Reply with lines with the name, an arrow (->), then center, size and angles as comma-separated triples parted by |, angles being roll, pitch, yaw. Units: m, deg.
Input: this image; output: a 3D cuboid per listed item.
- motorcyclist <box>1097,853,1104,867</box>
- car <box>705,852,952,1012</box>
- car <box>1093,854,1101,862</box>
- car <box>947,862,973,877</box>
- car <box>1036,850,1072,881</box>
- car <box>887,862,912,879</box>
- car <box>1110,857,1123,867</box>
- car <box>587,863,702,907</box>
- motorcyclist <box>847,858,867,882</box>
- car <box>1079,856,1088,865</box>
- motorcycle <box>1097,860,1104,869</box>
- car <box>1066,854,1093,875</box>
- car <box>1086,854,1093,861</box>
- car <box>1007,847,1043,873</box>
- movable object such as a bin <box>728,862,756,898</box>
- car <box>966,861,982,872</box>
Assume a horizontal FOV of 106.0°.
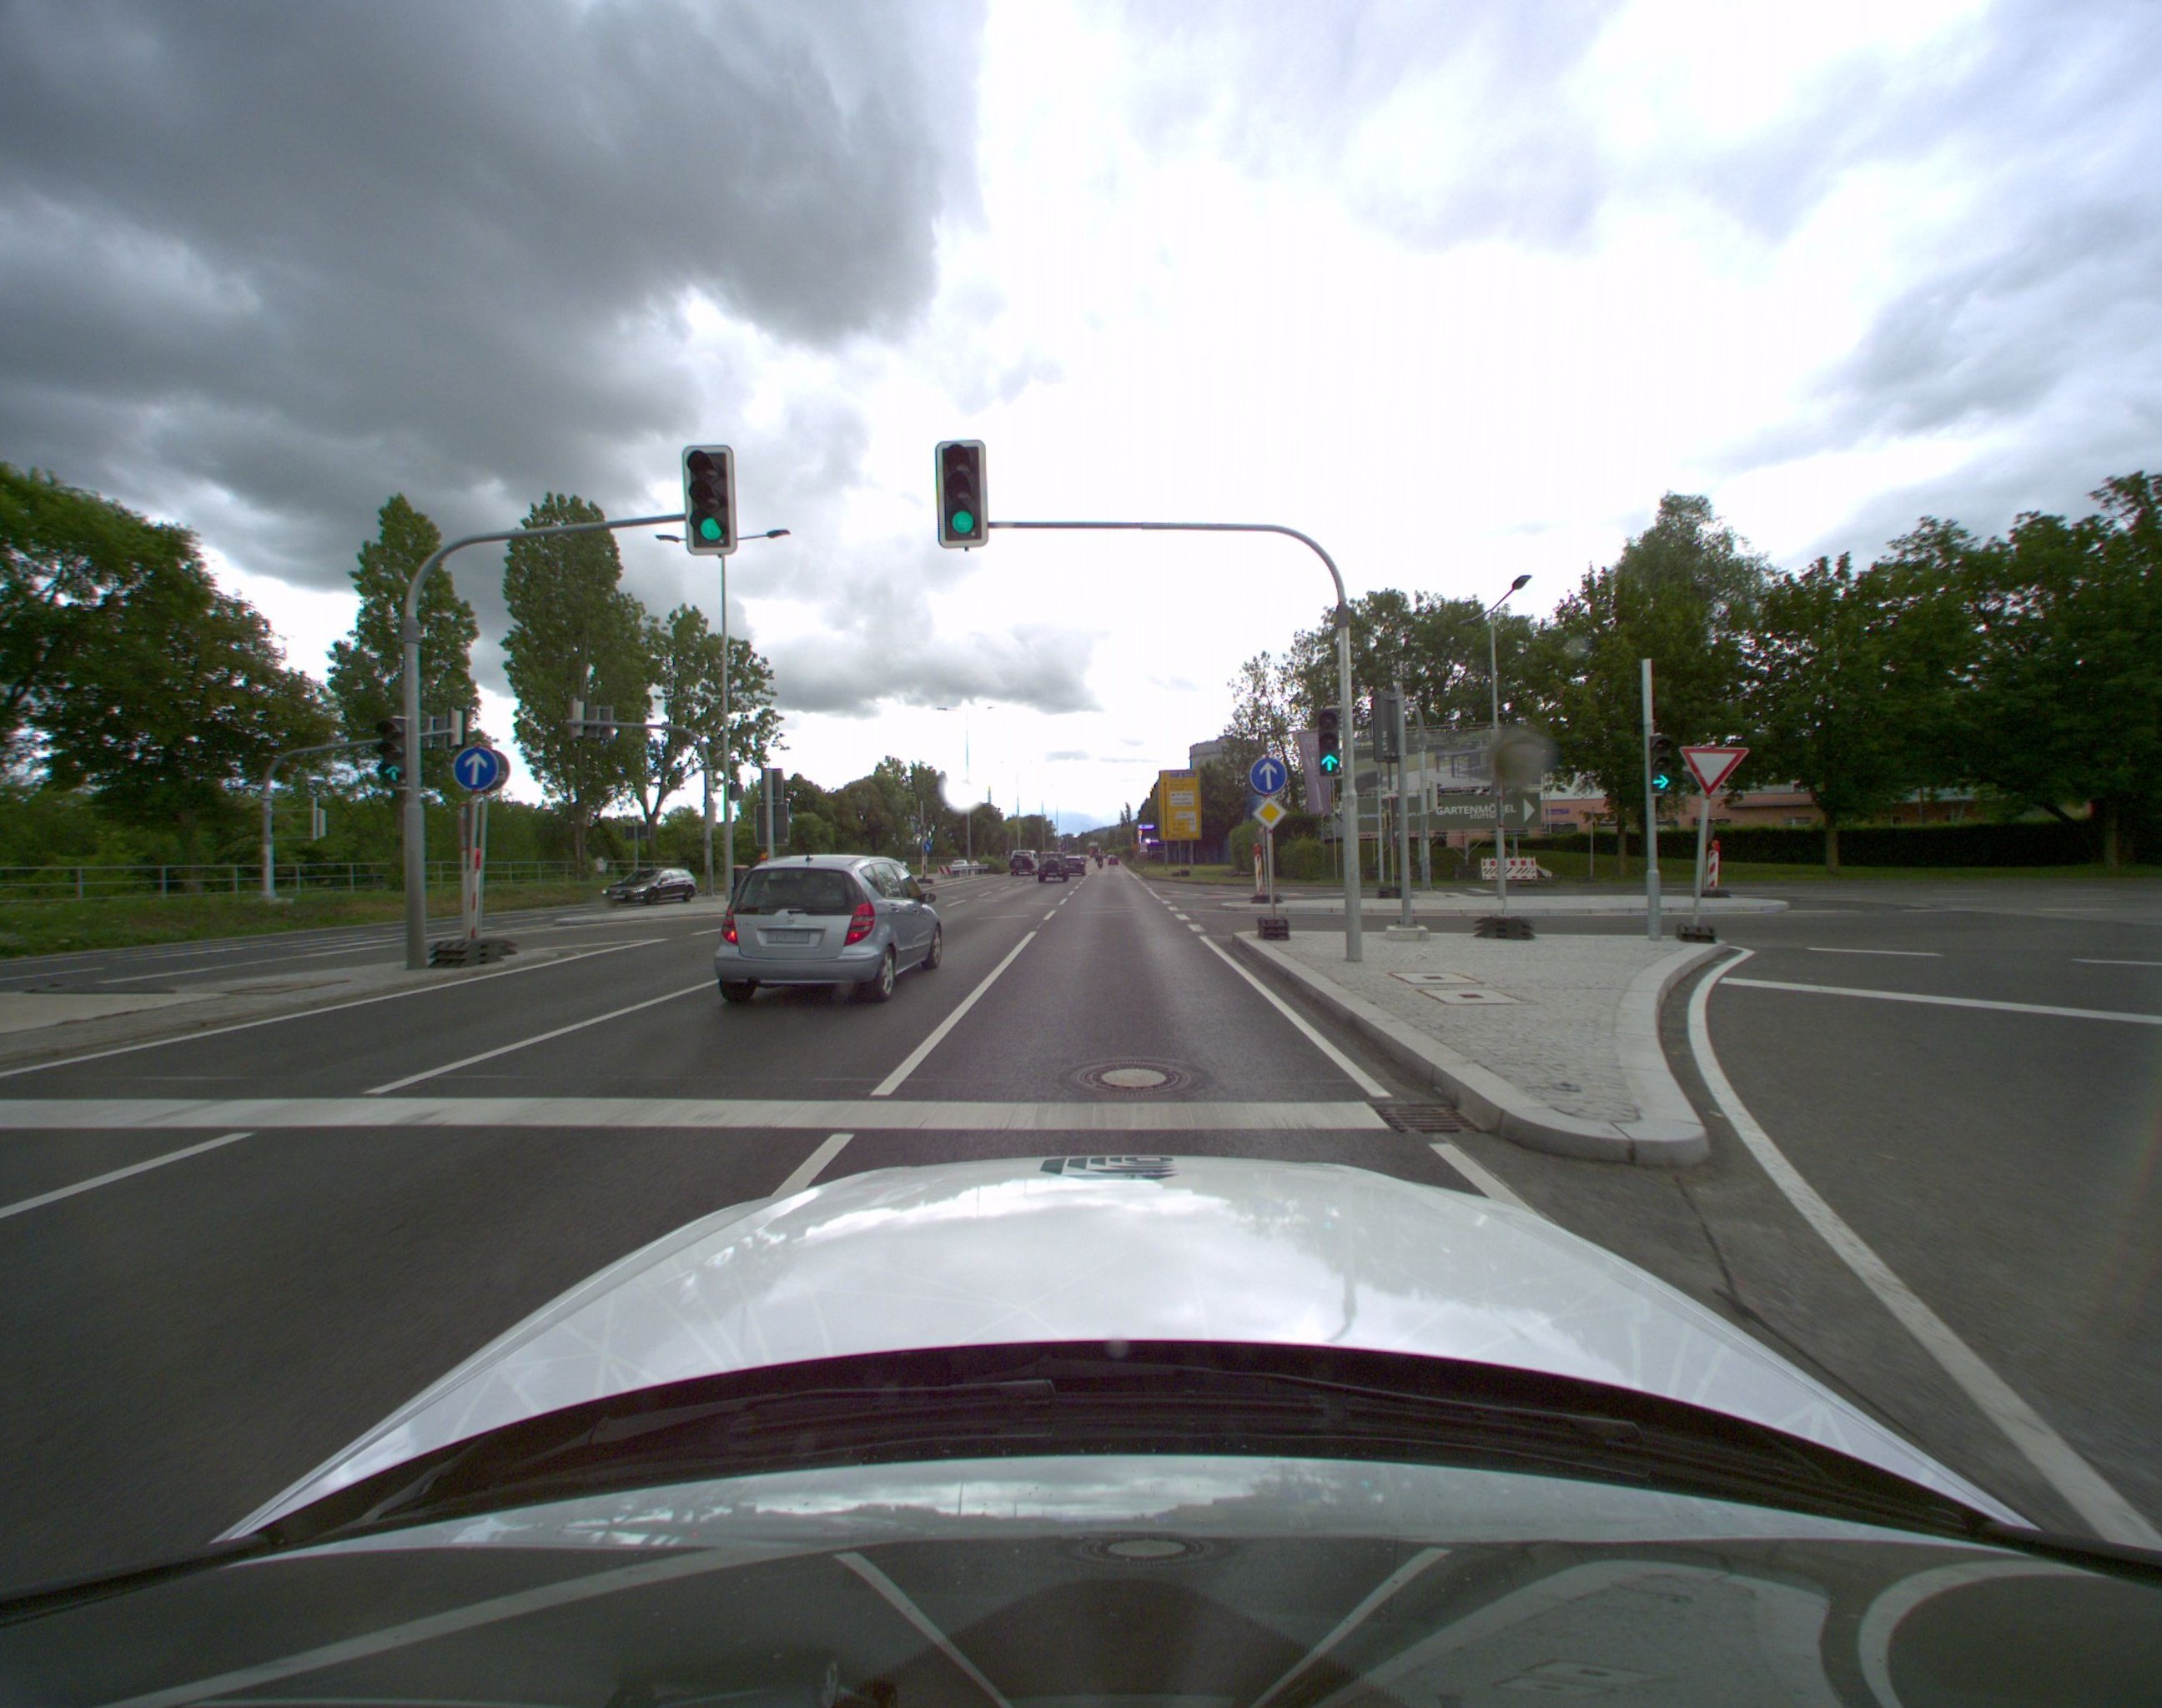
motorcyclist -> 2.268, 0.693, 94.018 | 0.682, 1.610, 0.846 | 1, 0, 3
car -> -2.819, 0.769, 10.063 | 1.704, 1.530, 4.001 | 1, 0, 1
car -> 3.959, 0.918, 200.730 | 1.986, 2.013, 4.002 | 1, 0, 2
car -> -13.272, 1.727, 89.562 | 1.986, 1.493, 4.807 | 1, 0, 2
car -> -1.531, 0.618, 47.680 | 1.901, 1.684, 4.001 | 1, 0, 1
car -> -16.361, 1.495, 73.491 | 1.467, 1.463, 2.738 | 1, 0, 2
car -> 5.766, 1.348, 133.790 | 1.987, 1.552, 4.000 | 1, 0, 1
car -> -17.469, 1.191, 32.877 | 1.985, 1.550, 4.571 | -1, 0, 3
motorcyclist -> -14.109, 1.013, 51.333 | 0.909, 1.522, 0.981 | 1, -3, 2
car -> 0.645, 1.490, 185.700 | 1.986, 2.013, 4.002 | 1, 0, 2
motorcycle -> 2.254, 1.193, 93.961 | 0.703, 1.040, 2.029 | 1, 0, 3
car -> -0.083, 0.751, 61.277 | 1.833, 1.464, 4.002 | 1, 0, 2
car -> 2.603, 1.051, 257.516 | 1.986, 2.013, 4.002 | 1, 0, 2
car -> -4.259, 0.415, 62.603 | 2.206, 1.925, 5.005 | 1, 0, 2
movable object such as a bin -> -10.521, 0.797, 25.288 | 0.538, 1.059, 0.741 | 1, 0, 2
car -> -17.031, 2.036, 129.673 | 1.986, 1.640, 4.002 | 1, 0, 2
